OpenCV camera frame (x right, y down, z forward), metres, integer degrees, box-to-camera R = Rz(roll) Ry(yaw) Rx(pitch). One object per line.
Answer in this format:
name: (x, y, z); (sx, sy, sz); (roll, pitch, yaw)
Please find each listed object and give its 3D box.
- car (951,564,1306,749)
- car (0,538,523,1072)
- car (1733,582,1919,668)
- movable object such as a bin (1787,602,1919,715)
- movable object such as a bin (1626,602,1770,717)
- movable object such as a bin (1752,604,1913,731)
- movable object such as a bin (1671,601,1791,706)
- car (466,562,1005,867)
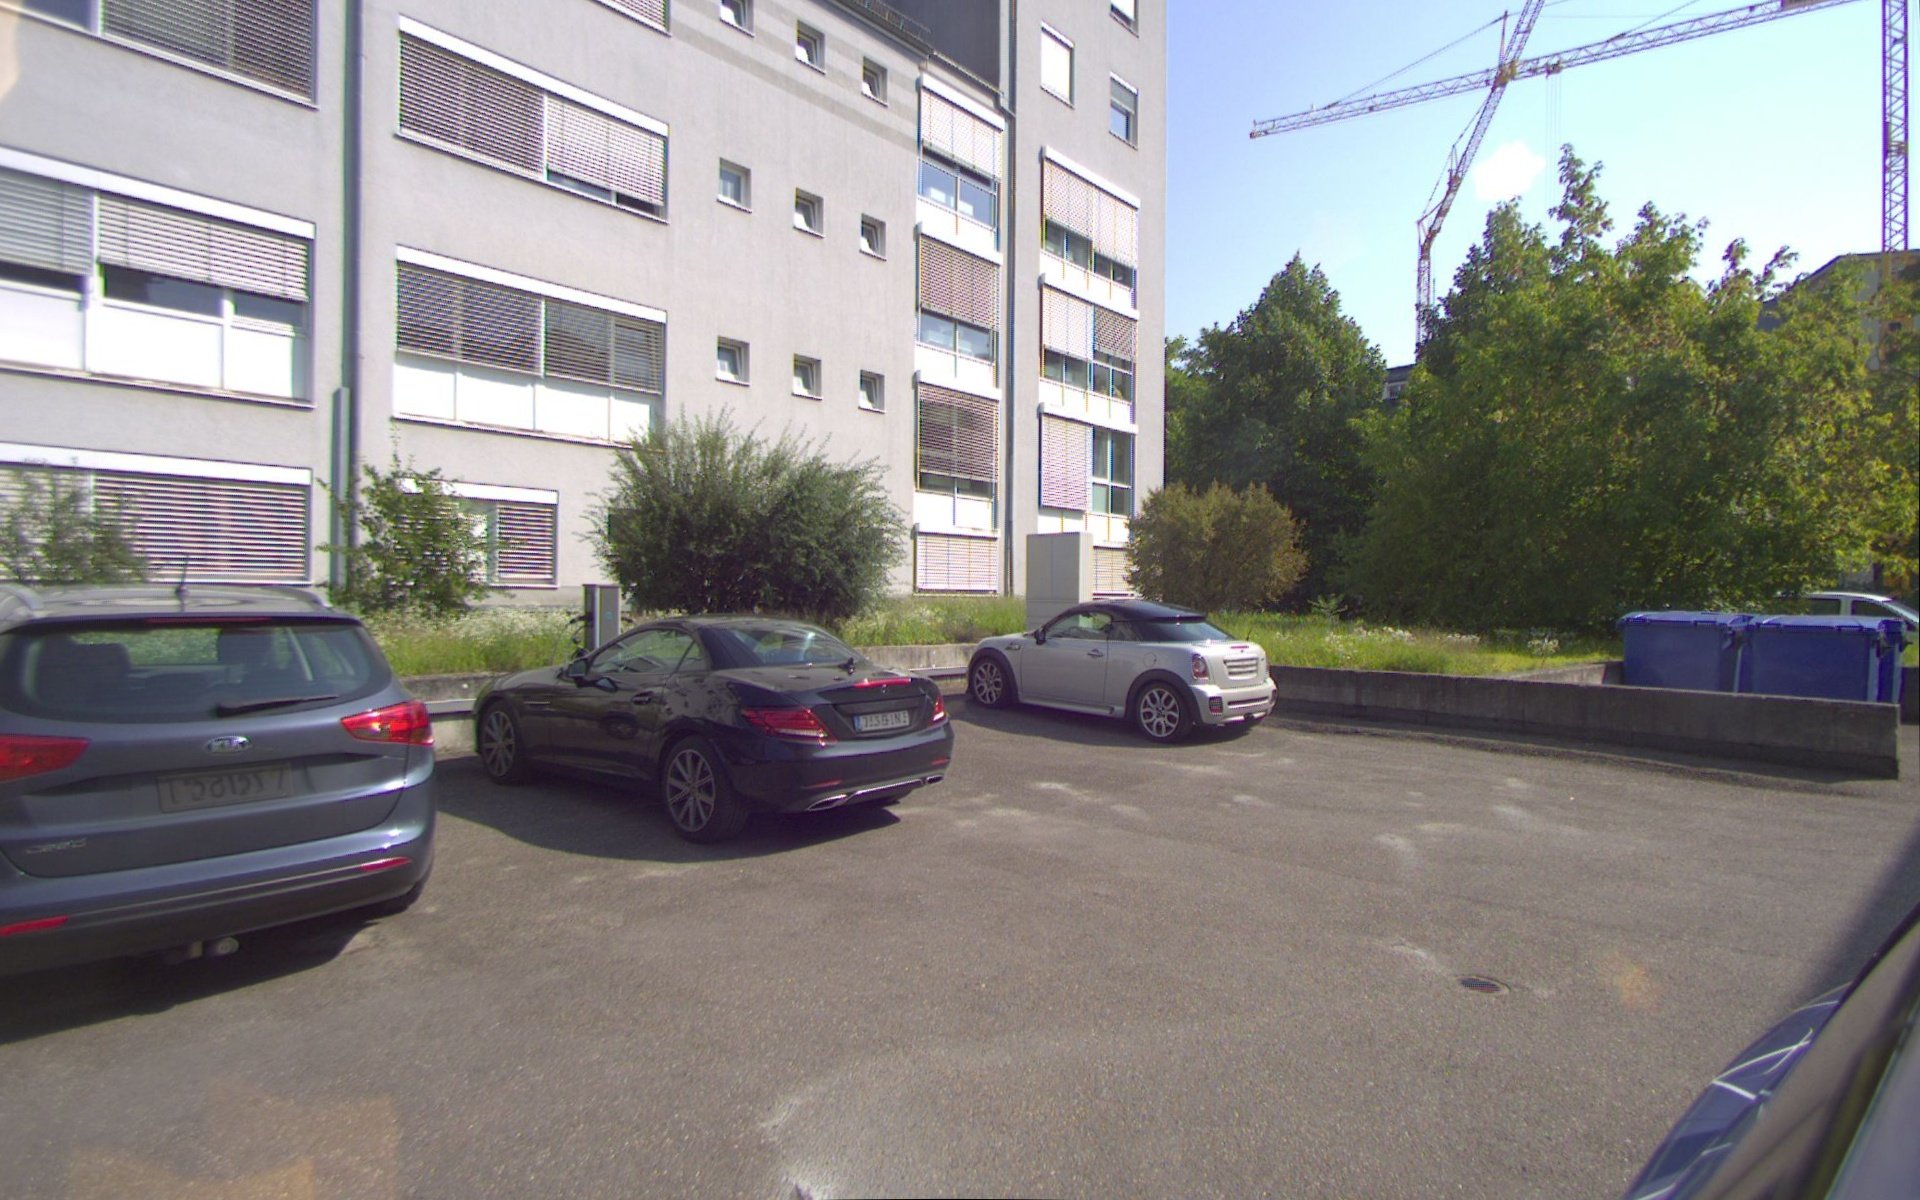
car: (1.789, 0.484, 11.540); (1.772, 1.563, 3.625); (0, 5, -43)
car: (-3.832, 0.604, 4.872); (3.862, 1.609, 1.850); (0, 0, 44)
car: (21.880, 0.550, 24.278); (2.007, 1.945, 4.968); (-1, 0, -39)
movable object such as a bin: (11.576, 0.709, 13.048); (1.082, 1.357, 1.310); (0, 0, -44)
movable object such as a bin: (9.435, 0.711, 12.958); (1.096, 1.357, 1.238); (0, 0, -38)
movable object such as a bin: (10.272, 0.740, 11.923); (1.174, 1.357, 1.302); (0, 0, -42)
movable object such as a bin: (10.710, 0.703, 14.063); (1.226, 1.357, 1.060); (0, 0, 44)
car: (-1.742, 0.588, 7.271); (3.793, 1.609, 1.870); (0, 0, 39)
